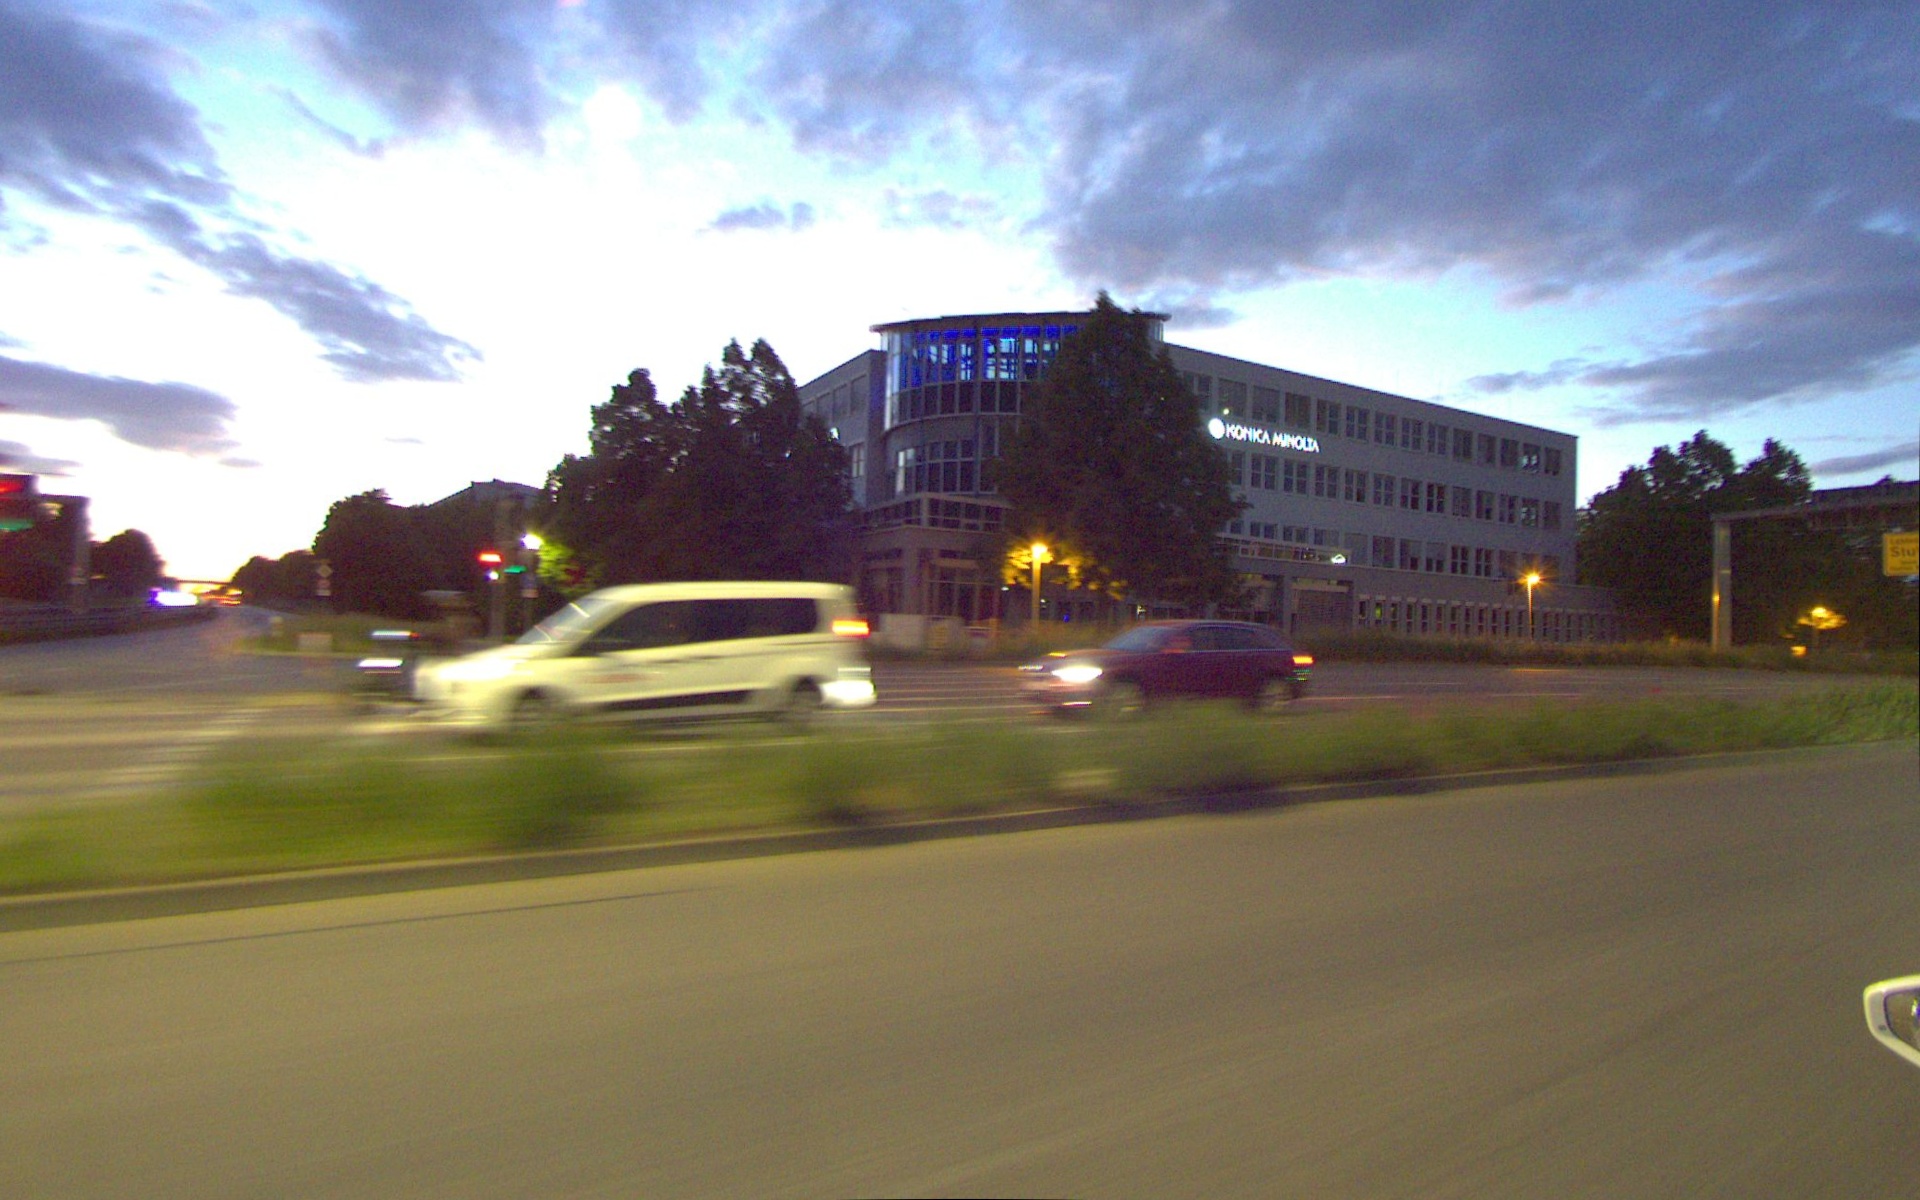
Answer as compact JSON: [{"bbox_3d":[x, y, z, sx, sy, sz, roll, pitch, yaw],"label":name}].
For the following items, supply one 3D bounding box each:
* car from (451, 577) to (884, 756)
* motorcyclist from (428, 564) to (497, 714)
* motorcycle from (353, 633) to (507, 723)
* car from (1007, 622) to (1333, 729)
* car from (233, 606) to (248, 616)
[{"bbox_3d":[-3.451,0.751,12.162,4.709,1.838,1.839,1,-1,-24],"label":"car"},{"bbox_3d":[-6.937,0.541,14.042,0.756,2.040,0.633,1,-1,-20],"label":"motorcyclist"},{"bbox_3d":[-7.282,1.048,13.882,1.780,1.179,0.670,1,-1,-20],"label":"motorcycle"},{"bbox_3d":[3.261,1.102,15.450,4.773,1.416,1.865,2,-1,-26],"label":"car"},{"bbox_3d":[-125.607,1.981,175.386,1.893,1.704,4.382,1,-2,-32],"label":"car"}]
